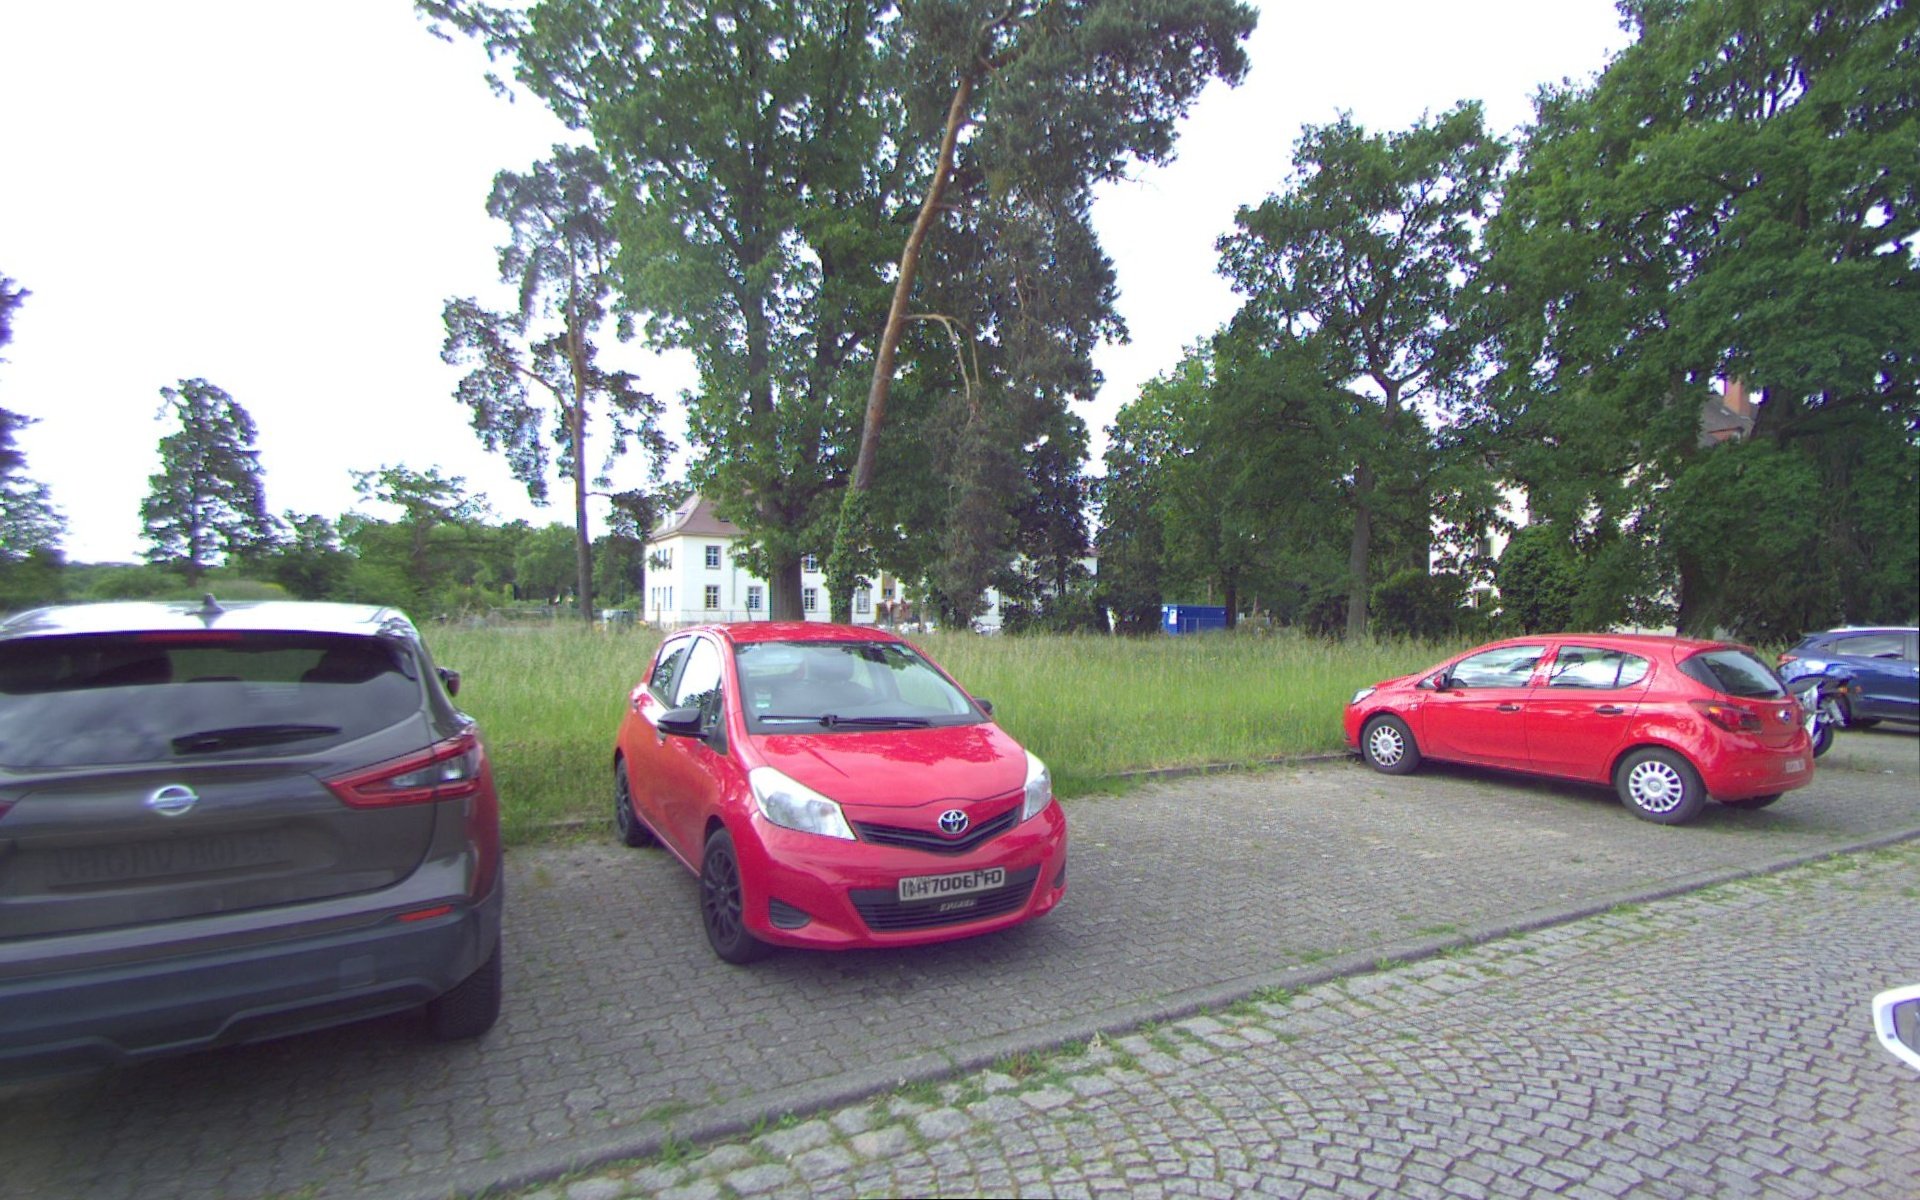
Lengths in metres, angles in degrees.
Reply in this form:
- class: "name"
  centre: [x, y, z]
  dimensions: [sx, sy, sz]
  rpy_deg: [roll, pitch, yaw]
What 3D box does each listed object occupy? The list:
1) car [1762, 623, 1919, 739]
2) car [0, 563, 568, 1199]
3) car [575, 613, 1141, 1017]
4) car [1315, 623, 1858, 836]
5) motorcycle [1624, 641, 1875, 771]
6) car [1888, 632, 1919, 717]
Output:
- class: "car"
  centre: [14.531, 1.189, 14.515]
  dimensions: [1.865, 1.598, 4.207]
  rpy_deg: [1, 0, -30]
- class: "car"
  centre: [-3.165, 0.760, 4.450]
  dimensions: [1.964, 1.644, 4.144]
  rpy_deg: [1, -1, -31]
- class: "car"
  centre: [-0.984, 0.858, 6.102]
  dimensions: [1.885, 1.530, 4.146]
  rpy_deg: [1, -1, -30]
- class: "car"
  centre: [5.673, 1.011, 9.636]
  dimensions: [1.883, 1.545, 4.035]
  rpy_deg: [1, -1, -30]
- class: "motorcycle"
  centre: [9.381, 1.195, 12.068]
  dimensions: [0.710, 1.309, 2.265]
  rpy_deg: [1, 0, -28]
- class: "car"
  centre: [18.646, 1.361, 16.724]
  dimensions: [1.950, 1.480, 4.286]
  rpy_deg: [1, 0, -28]
